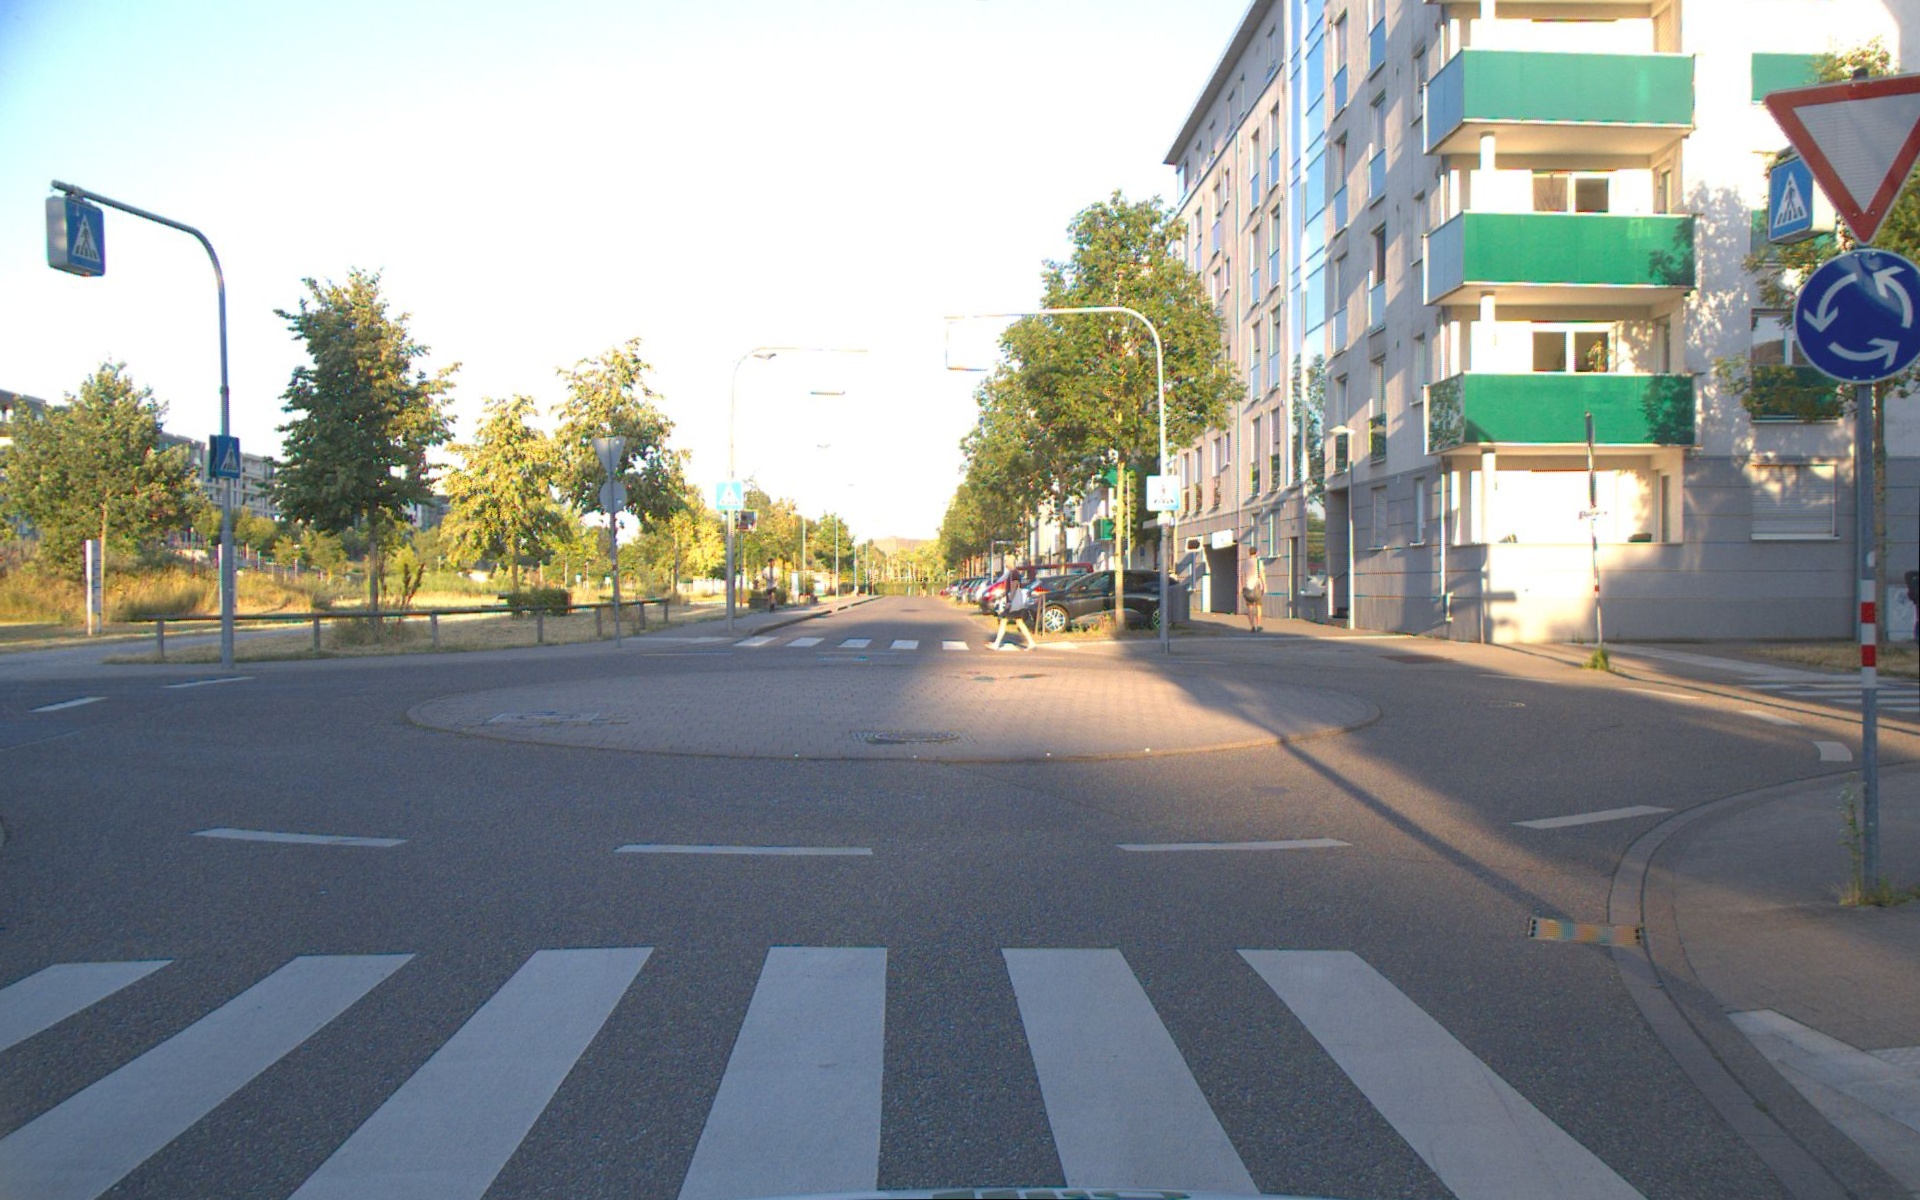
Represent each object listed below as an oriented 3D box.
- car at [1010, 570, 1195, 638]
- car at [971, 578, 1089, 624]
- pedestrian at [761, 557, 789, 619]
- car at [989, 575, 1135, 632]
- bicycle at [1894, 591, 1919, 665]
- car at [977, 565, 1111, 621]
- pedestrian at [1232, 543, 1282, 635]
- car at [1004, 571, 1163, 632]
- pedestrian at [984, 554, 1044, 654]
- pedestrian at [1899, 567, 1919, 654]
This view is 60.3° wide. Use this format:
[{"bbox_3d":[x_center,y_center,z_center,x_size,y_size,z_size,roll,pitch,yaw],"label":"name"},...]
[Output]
[{"bbox_3d":[3.473,0.085,40.987,4.393,1.624,2.000,0,0,0],"label":"car"},{"bbox_3d":[2.552,0.020,61.077,4.178,1.624,1.999,0,0,-2],"label":"car"},{"bbox_3d":[-6.181,-0.409,55.145,0.851,2.049,0.787,0,0,-12],"label":"pedestrian"},{"bbox_3d":[2.961,0.090,48.874,4.176,1.624,2.000,0,0,0],"label":"car"},{"bbox_3d":[15.639,0.448,25.738,0.682,1.171,2.459,0,0,-4],"label":"bicycle"},{"bbox_3d":[3.217,-0.269,64.164,4.906,2.081,2.247,0,0,-6],"label":"car"},{"bbox_3d":[6.693,-0.250,37.318,0.922,2.049,0.848,0,0,-6],"label":"pedestrian"},{"bbox_3d":[3.404,0.036,46.149,4.266,1.624,2.000,0,0,0],"label":"car"},{"bbox_3d":[0.994,0.074,30.844,0.984,1.819,0.761,1,0,-8],"label":"pedestrian"},{"bbox_3d":[15.593,0.167,26.458,0.644,1.379,0.802,0,0,-4],"label":"pedestrian"}]
